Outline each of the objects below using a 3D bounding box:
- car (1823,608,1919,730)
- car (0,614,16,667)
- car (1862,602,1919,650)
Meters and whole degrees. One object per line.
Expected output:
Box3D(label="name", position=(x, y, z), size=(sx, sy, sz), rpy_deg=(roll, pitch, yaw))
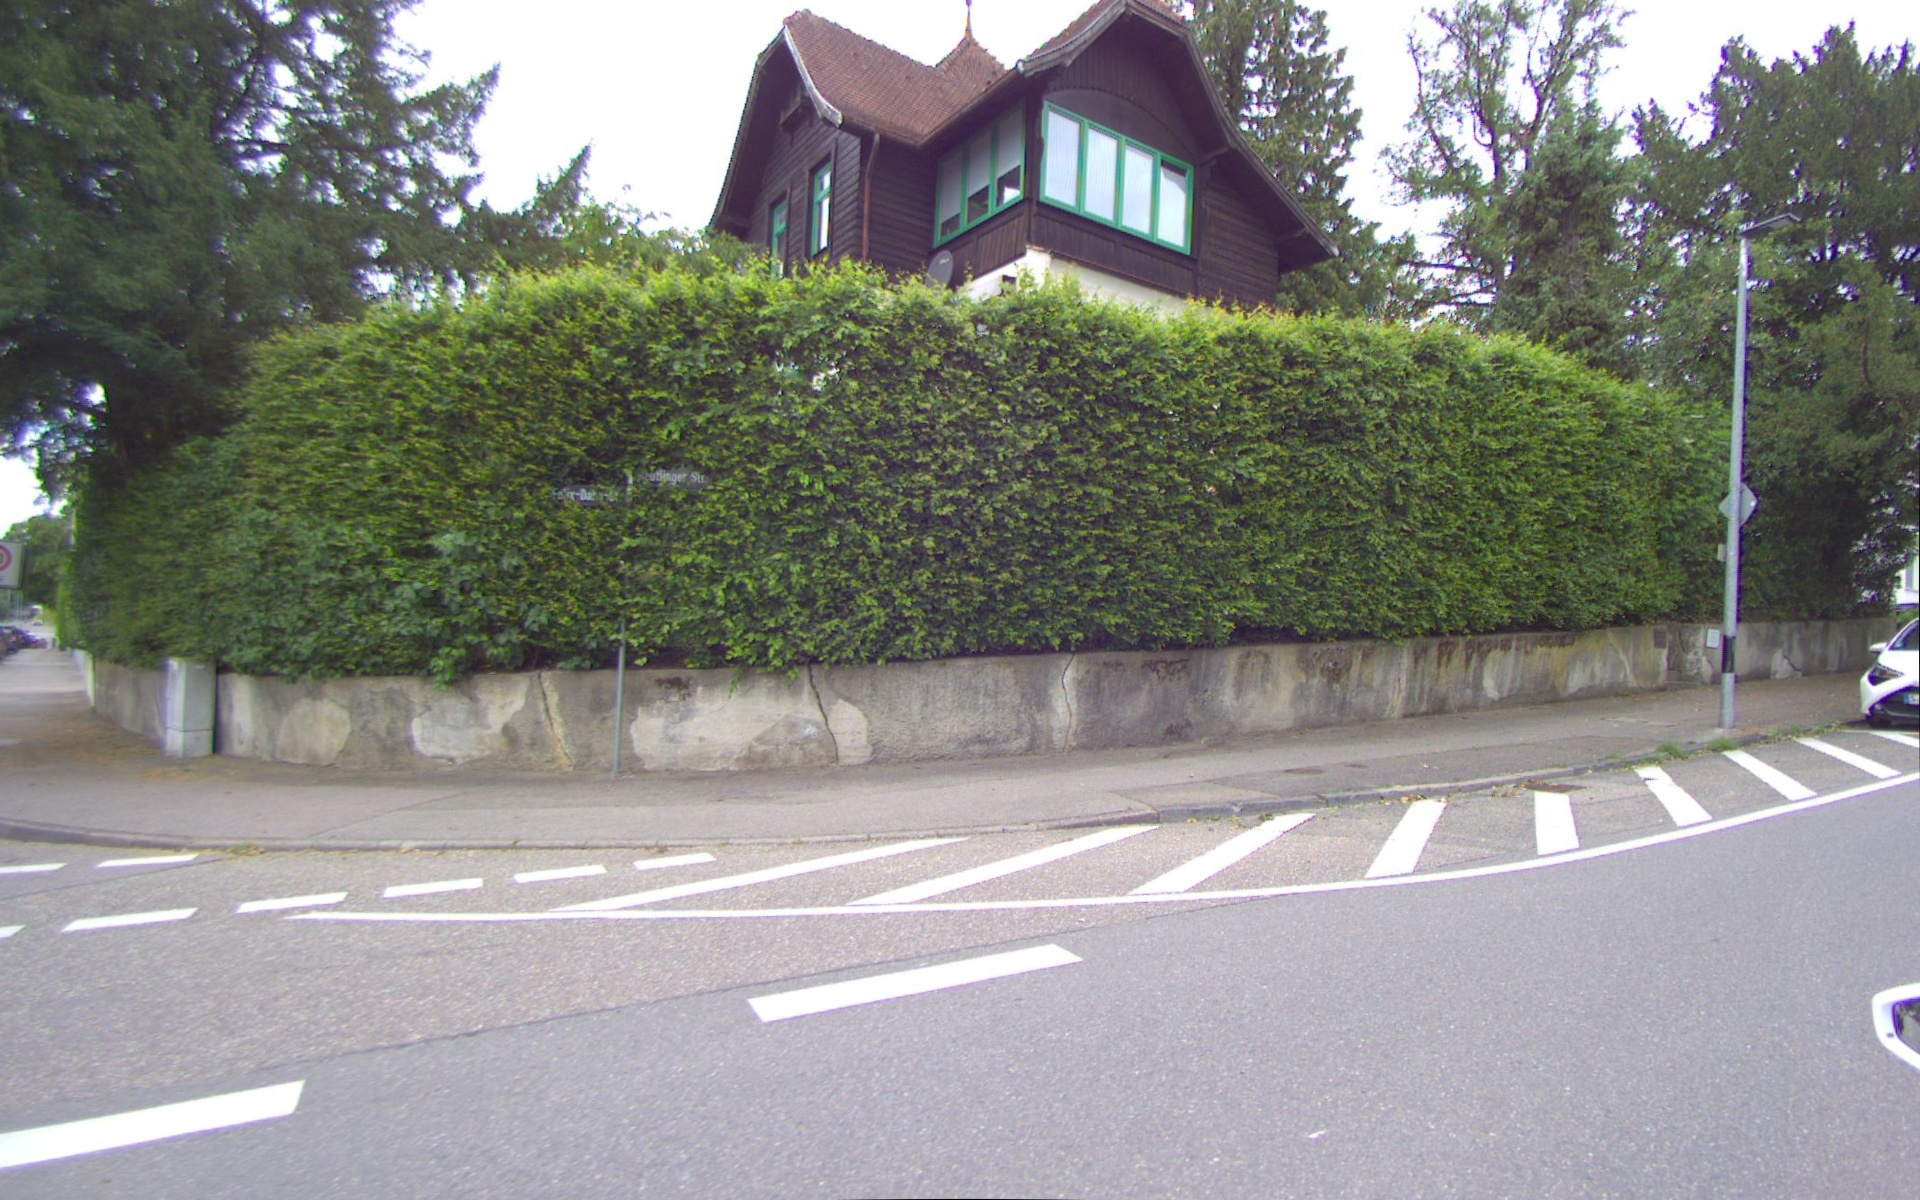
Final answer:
Box3D(label="car", position=(12.988, 0.831, 12.995), size=(3.473, 1.467, 1.736), rpy_deg=(0, -3, -31))
Box3D(label="car", position=(-41.453, 1.701, 42.430), size=(1.947, 2.041, 4.046), rpy_deg=(-1, 2, -39))
Box3D(label="car", position=(28.433, 0.748, 28.642), size=(1.724, 1.372, 3.770), rpy_deg=(0, 0, -35))
